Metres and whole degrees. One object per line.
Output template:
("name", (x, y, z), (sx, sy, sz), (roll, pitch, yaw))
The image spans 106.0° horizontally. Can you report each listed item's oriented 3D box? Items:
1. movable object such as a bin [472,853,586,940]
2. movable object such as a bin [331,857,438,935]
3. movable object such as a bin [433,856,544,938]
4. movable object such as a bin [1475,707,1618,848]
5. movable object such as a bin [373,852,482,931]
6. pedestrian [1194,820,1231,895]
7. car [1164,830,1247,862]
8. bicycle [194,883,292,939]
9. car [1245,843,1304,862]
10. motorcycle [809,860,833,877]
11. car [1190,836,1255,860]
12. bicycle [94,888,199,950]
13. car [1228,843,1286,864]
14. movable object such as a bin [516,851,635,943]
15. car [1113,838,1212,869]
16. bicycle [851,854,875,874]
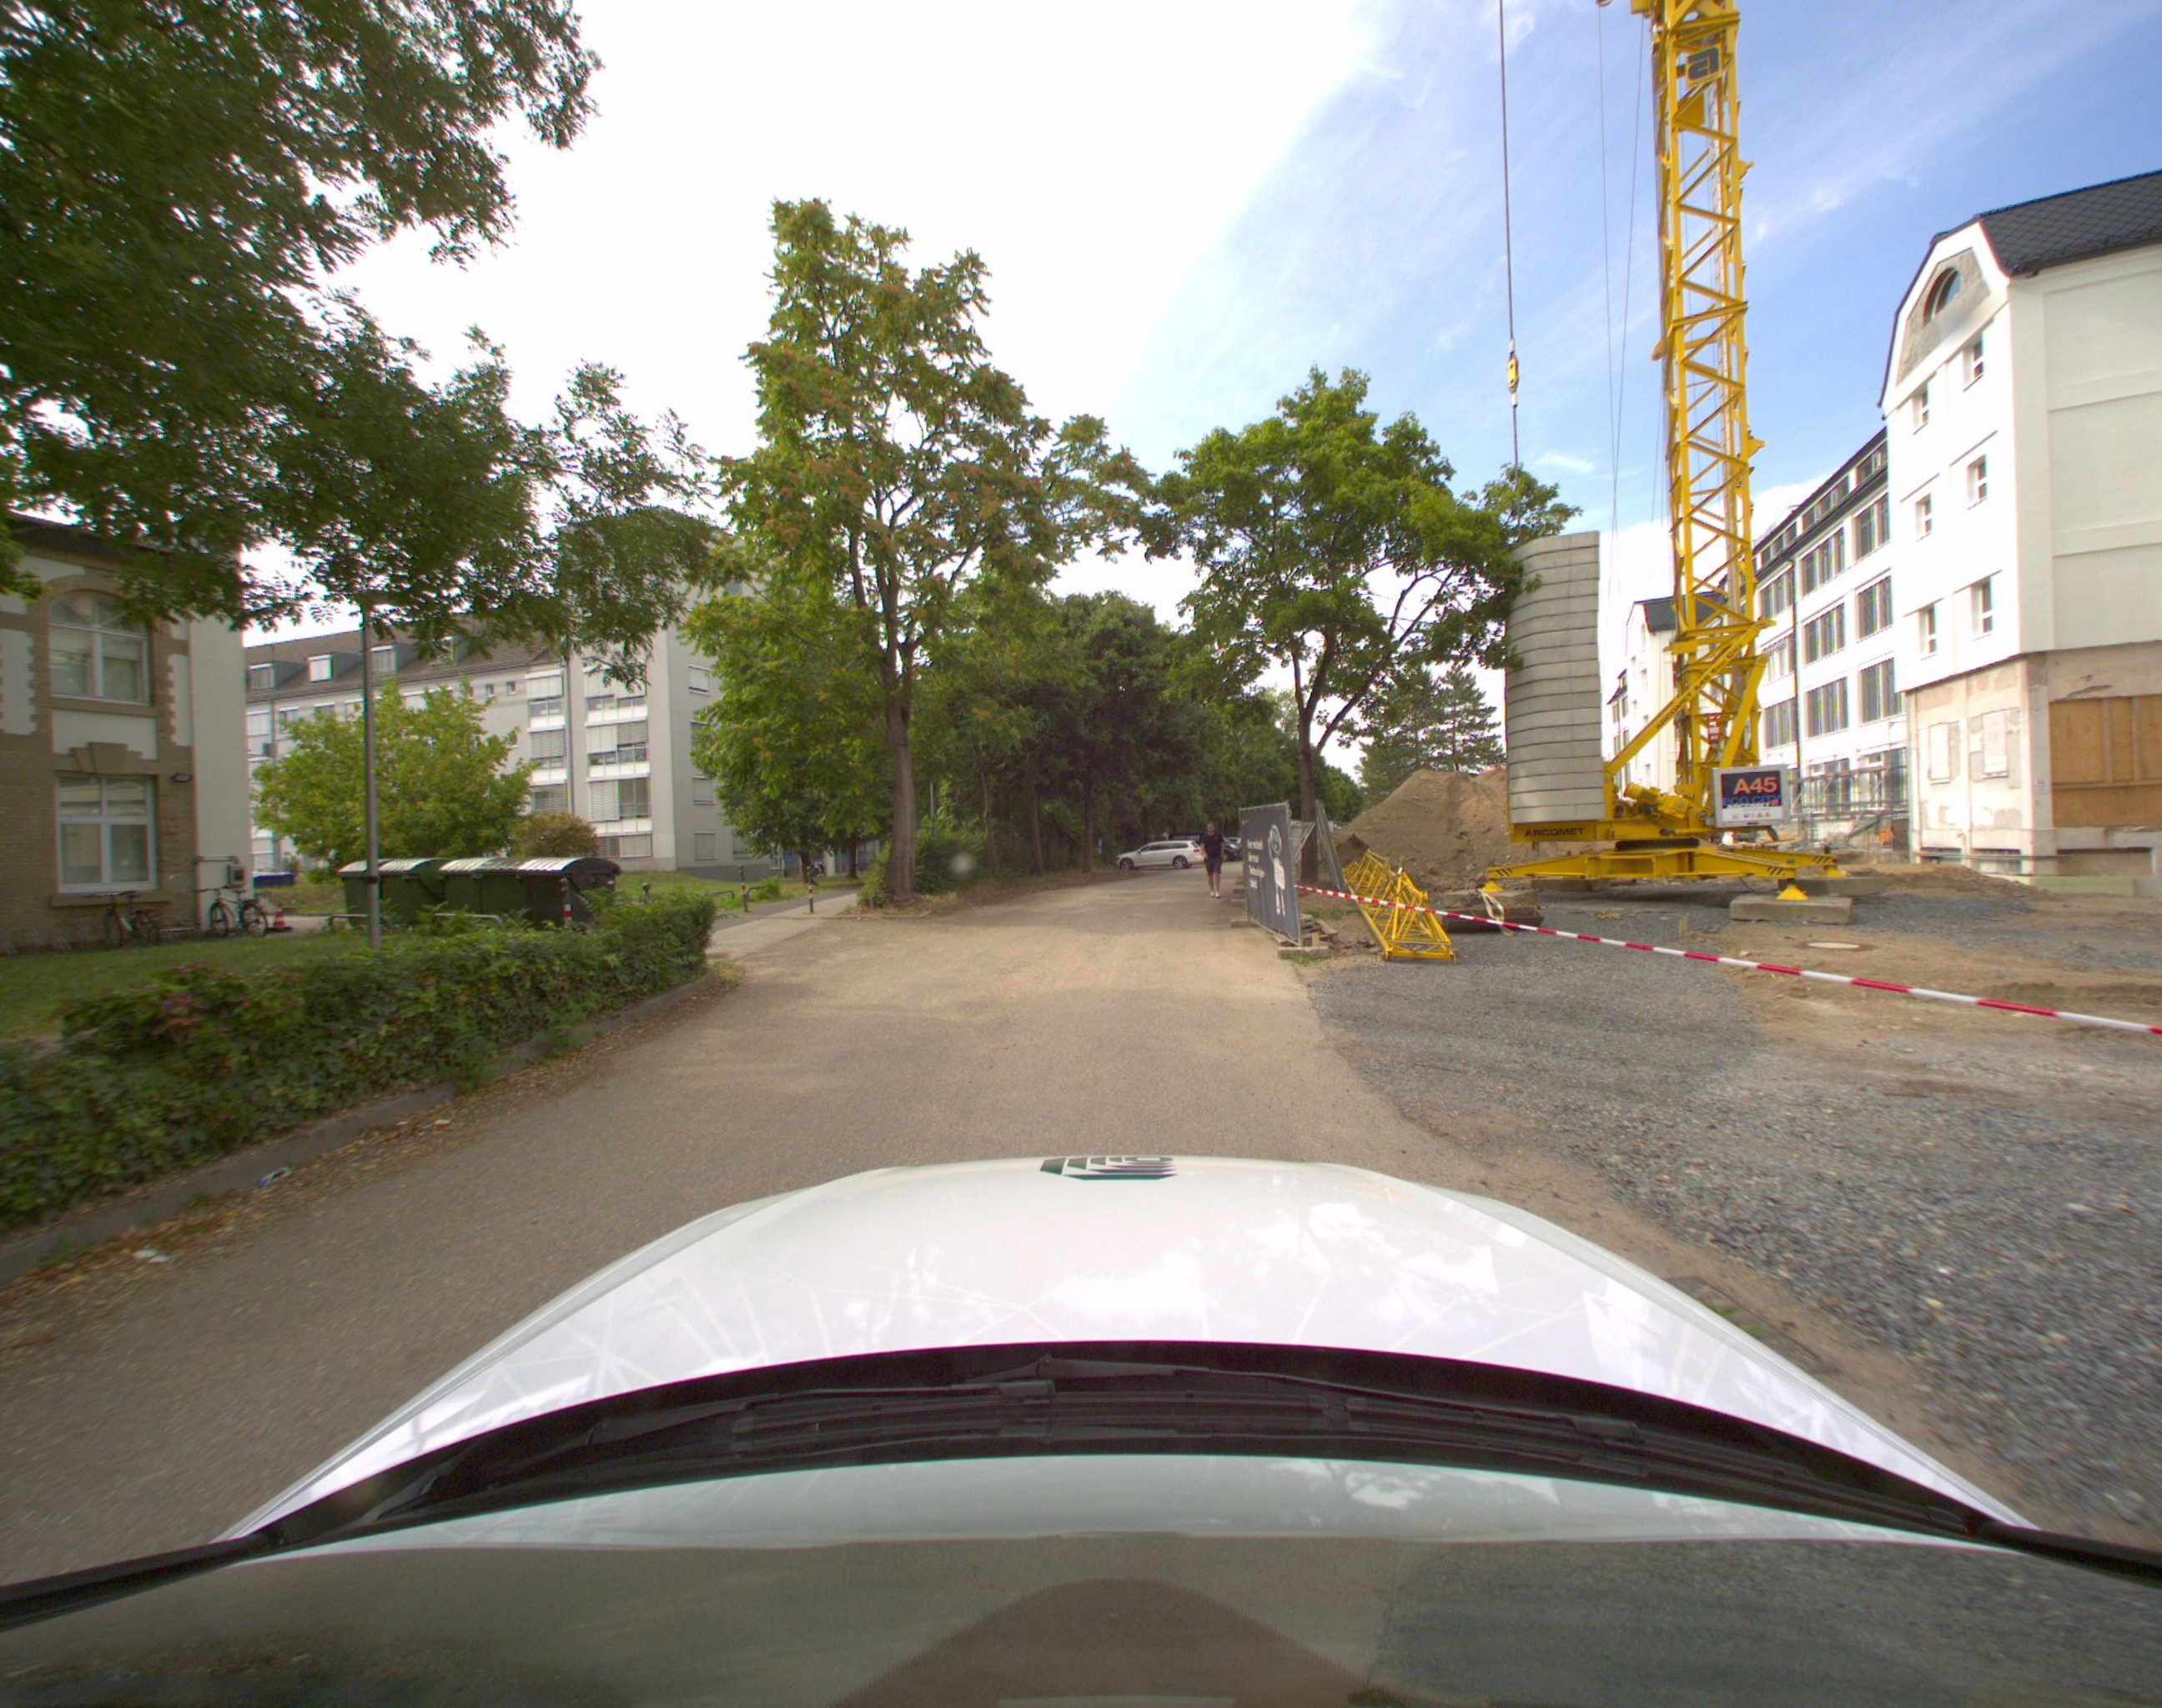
("movable object such as a bin", (-9.780, 0.729, 14.461), (1.268, 1.430, 1.128), (-1, 1, 23))
("movable object such as a bin", (-13.763, 0.808, 16.112), (1.268, 1.430, 1.128), (-1, 1, 23))
("movable object such as a bin", (-10.970, 0.772, 15.099), (1.268, 1.430, 1.128), (-1, 1, 23))
("movable object such as a bin", (25.336, -3.803, 43.934), (11.053, 6.668, 3.809), (-2, 1, -45))
("movable object such as a bin", (-12.496, 0.693, 15.589), (1.268, 1.430, 1.128), (-1, 1, 23))
("pedestrian", (3.212, 0.079, 19.877), (0.741, 1.789, 0.734), (-1, 1, 18))
("car", (8.109, -0.513, 53.001), (5.002, 1.953, 2.011), (-1, 1, 21))
("bicycle", (-16.792, 1.130, 16.321), (1.954, 1.043, 0.598), (-1, 1, 21))
("car", (16.638, -0.145, 70.026), (4.754, 1.488, 2.009), (-1, 1, 17))
("motorcycle", (-21.811, 1.208, 68.438), (0.660, 1.290, 2.159), (-1, 1, 22))
("car", (9.694, -0.401, 55.882), (3.949, 1.500, 1.943), (-1, 1, 30))
("bicycle", (-17.259, 1.186, 15.037), (1.954, 1.043, 0.598), (-1, 1, 21))
("car", (13.941, -0.064, 64.462), (4.299, 1.543, 1.761), (-1, 1, 17))
("movable object such as a bin", (-8.465, 0.698, 13.663), (1.268, 1.430, 1.128), (-1, 1, 23))
("car", (4.224, -0.024, 42.235), (4.754, 1.488, 2.009), (-1, 1, 17))
("bicycle", (-14.020, 0.618, 52.405), (0.645, 1.181, 1.906), (-2, 1, 10))
